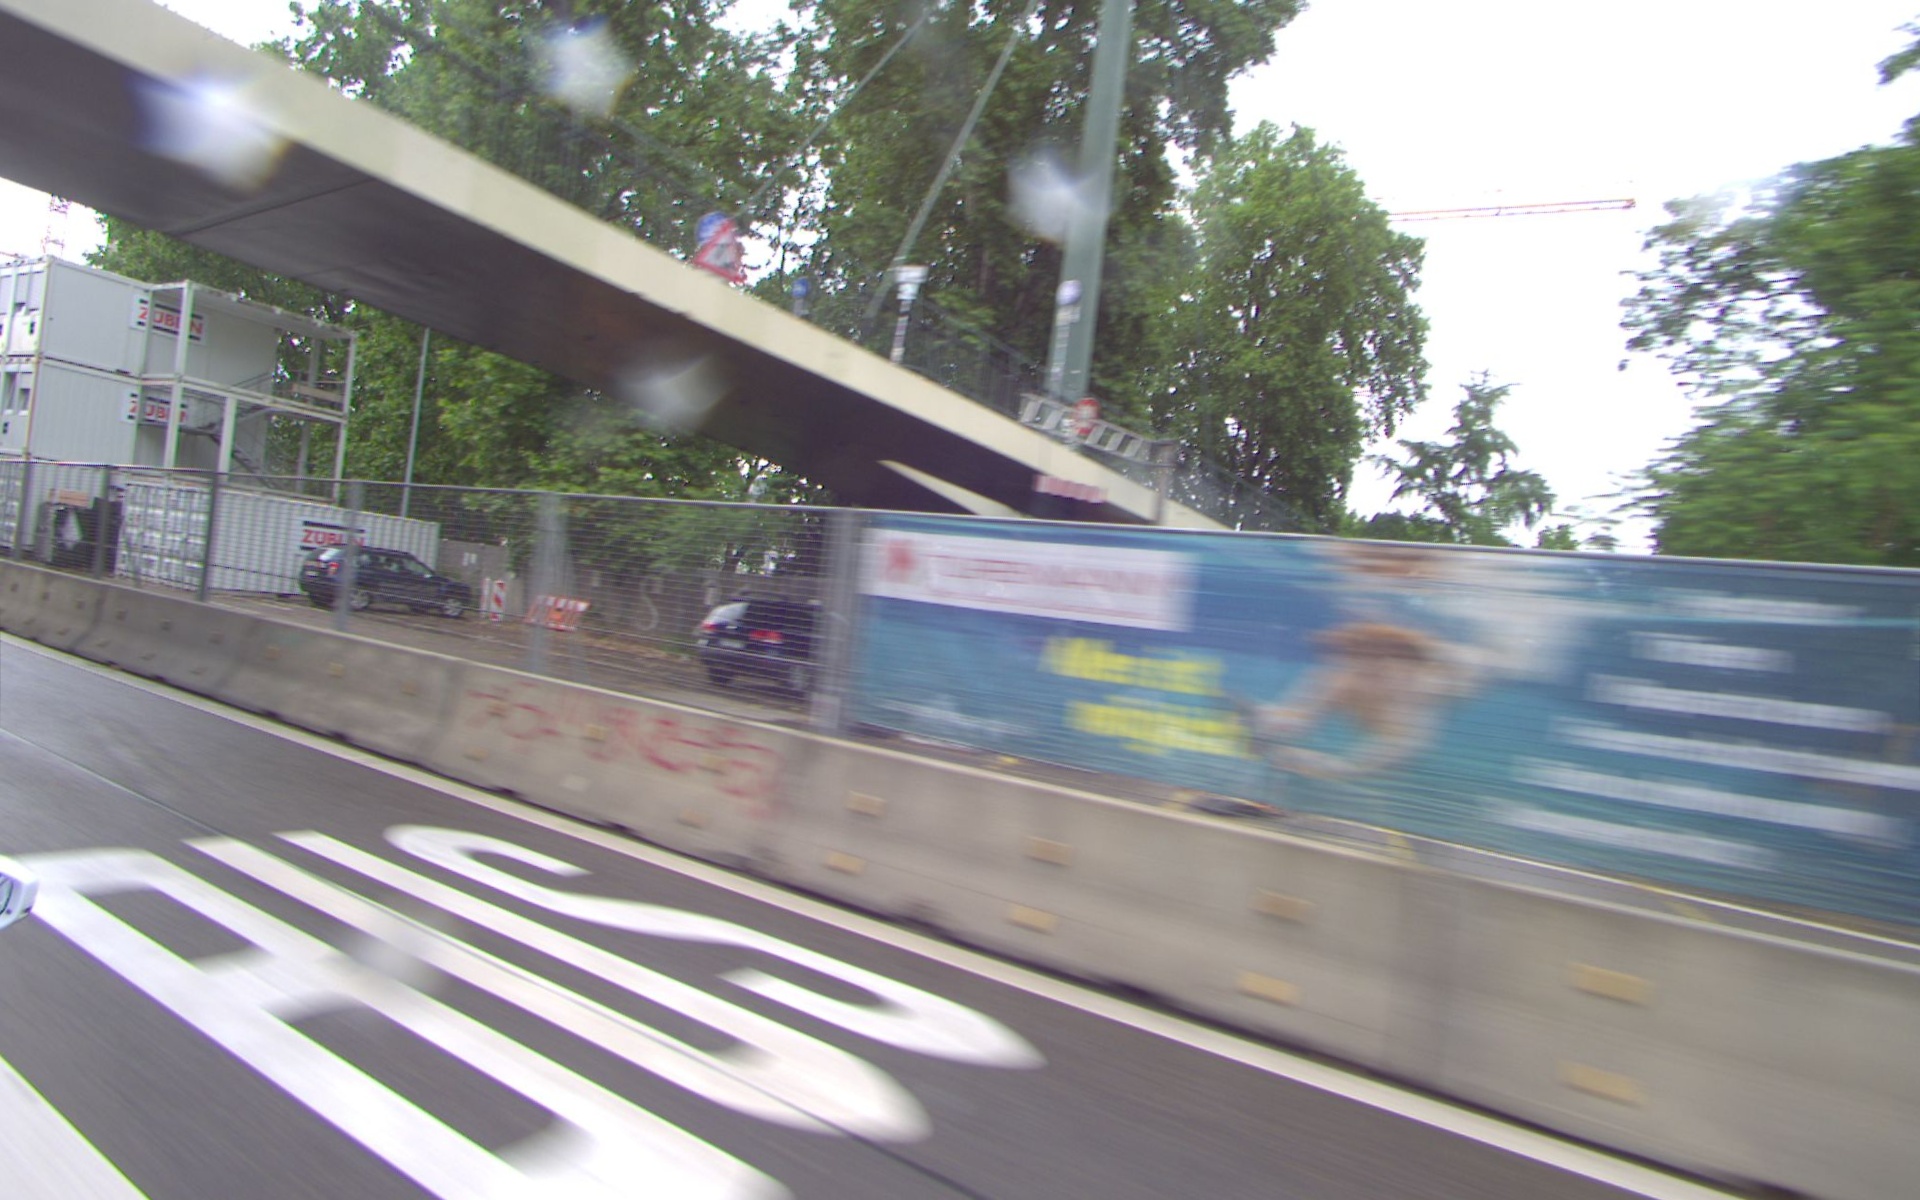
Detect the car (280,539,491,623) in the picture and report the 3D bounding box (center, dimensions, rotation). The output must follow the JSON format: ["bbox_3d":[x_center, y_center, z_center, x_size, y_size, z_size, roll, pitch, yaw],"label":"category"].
[{"bbox_3d":[-15.284,-0.450,27.045,1.757,1.648,4.553,8,-1,28],"label":"car"}]

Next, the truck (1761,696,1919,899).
[{"bbox_3d":[12.230,2.376,12.356,2.366,2.037,5.169,5,-2,24],"label":"truck"}]

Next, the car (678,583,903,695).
[{"bbox_3d":[-3.133,0.838,19.690,1.964,1.748,4.512,6,-2,25],"label":"car"}]
